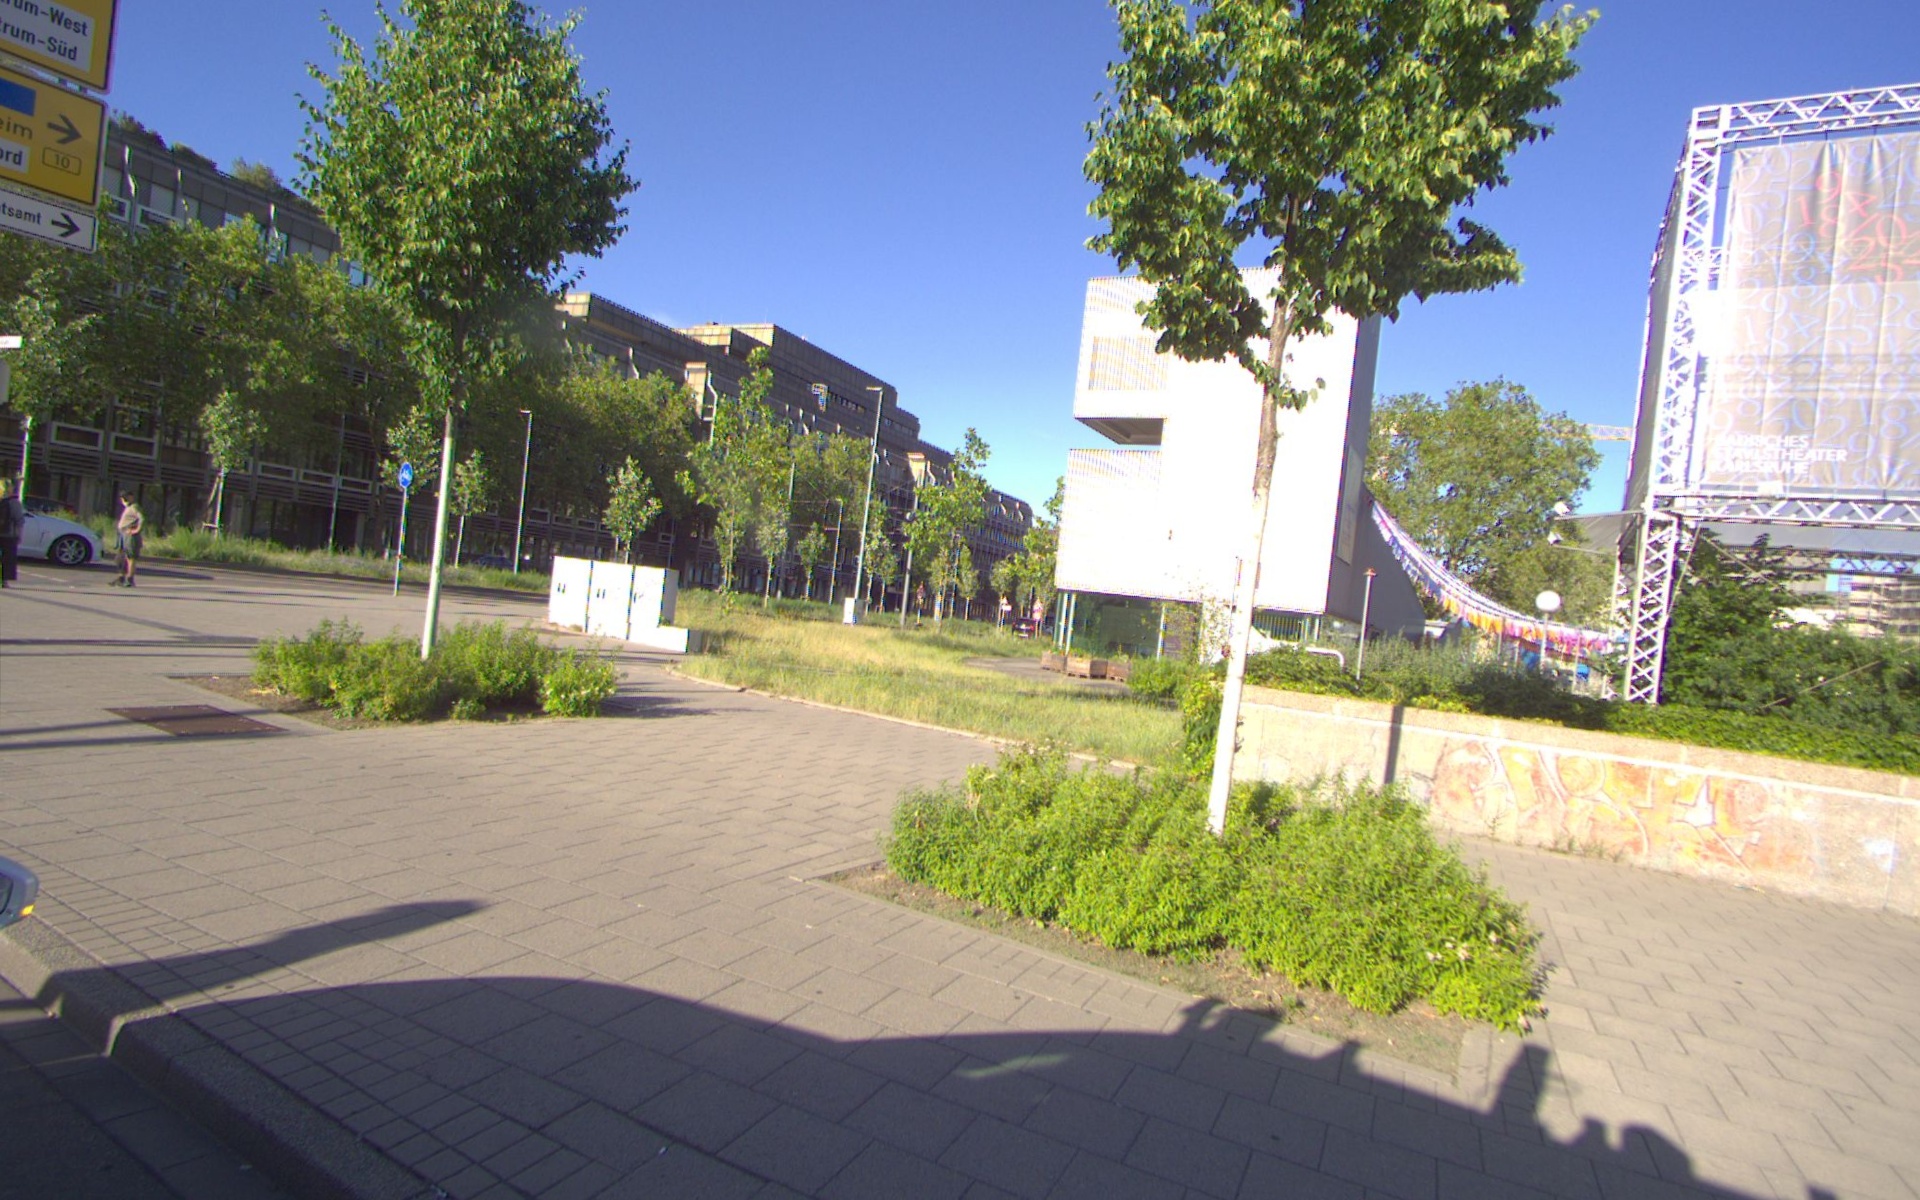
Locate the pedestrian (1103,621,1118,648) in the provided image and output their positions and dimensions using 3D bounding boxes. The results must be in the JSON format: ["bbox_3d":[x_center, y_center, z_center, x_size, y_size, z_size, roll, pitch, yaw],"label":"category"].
[{"bbox_3d":[9.193,2.121,61.266,0.520,1.571,0.638,7,-1,31],"label":"pedestrian"}]

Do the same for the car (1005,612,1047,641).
[{"bbox_3d":[5.125,2.048,77.312,1.851,1.886,4.833,7,-1,18],"label":"car"}]

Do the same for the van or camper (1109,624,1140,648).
[{"bbox_3d":[15.895,3.477,96.832,1.969,2.038,4.844,7,-1,19],"label":"van or camper"}]

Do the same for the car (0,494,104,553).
[{"bbox_3d":[-33.270,-2.792,35.465,1.792,1.704,4.302,7,-1,21],"label":"car"}]

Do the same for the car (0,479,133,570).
[{"bbox_3d":[-19.770,-1.696,19.718,1.963,1.583,5.100,7,-1,21],"label":"car"}]

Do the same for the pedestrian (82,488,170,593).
[{"bbox_3d":[-14.879,-1.056,17.955,0.755,1.728,0.873,7,1,30],"label":"pedestrian"}]

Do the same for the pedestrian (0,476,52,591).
[{"bbox_3d":[-14.229,-1.013,14.940,0.859,1.634,0.767,7,1,30],"label":"pedestrian"}]

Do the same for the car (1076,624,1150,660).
[{"bbox_3d":[10.495,2.892,68.708,5.284,1.845,1.827,9,-2,-40],"label":"car"}]
